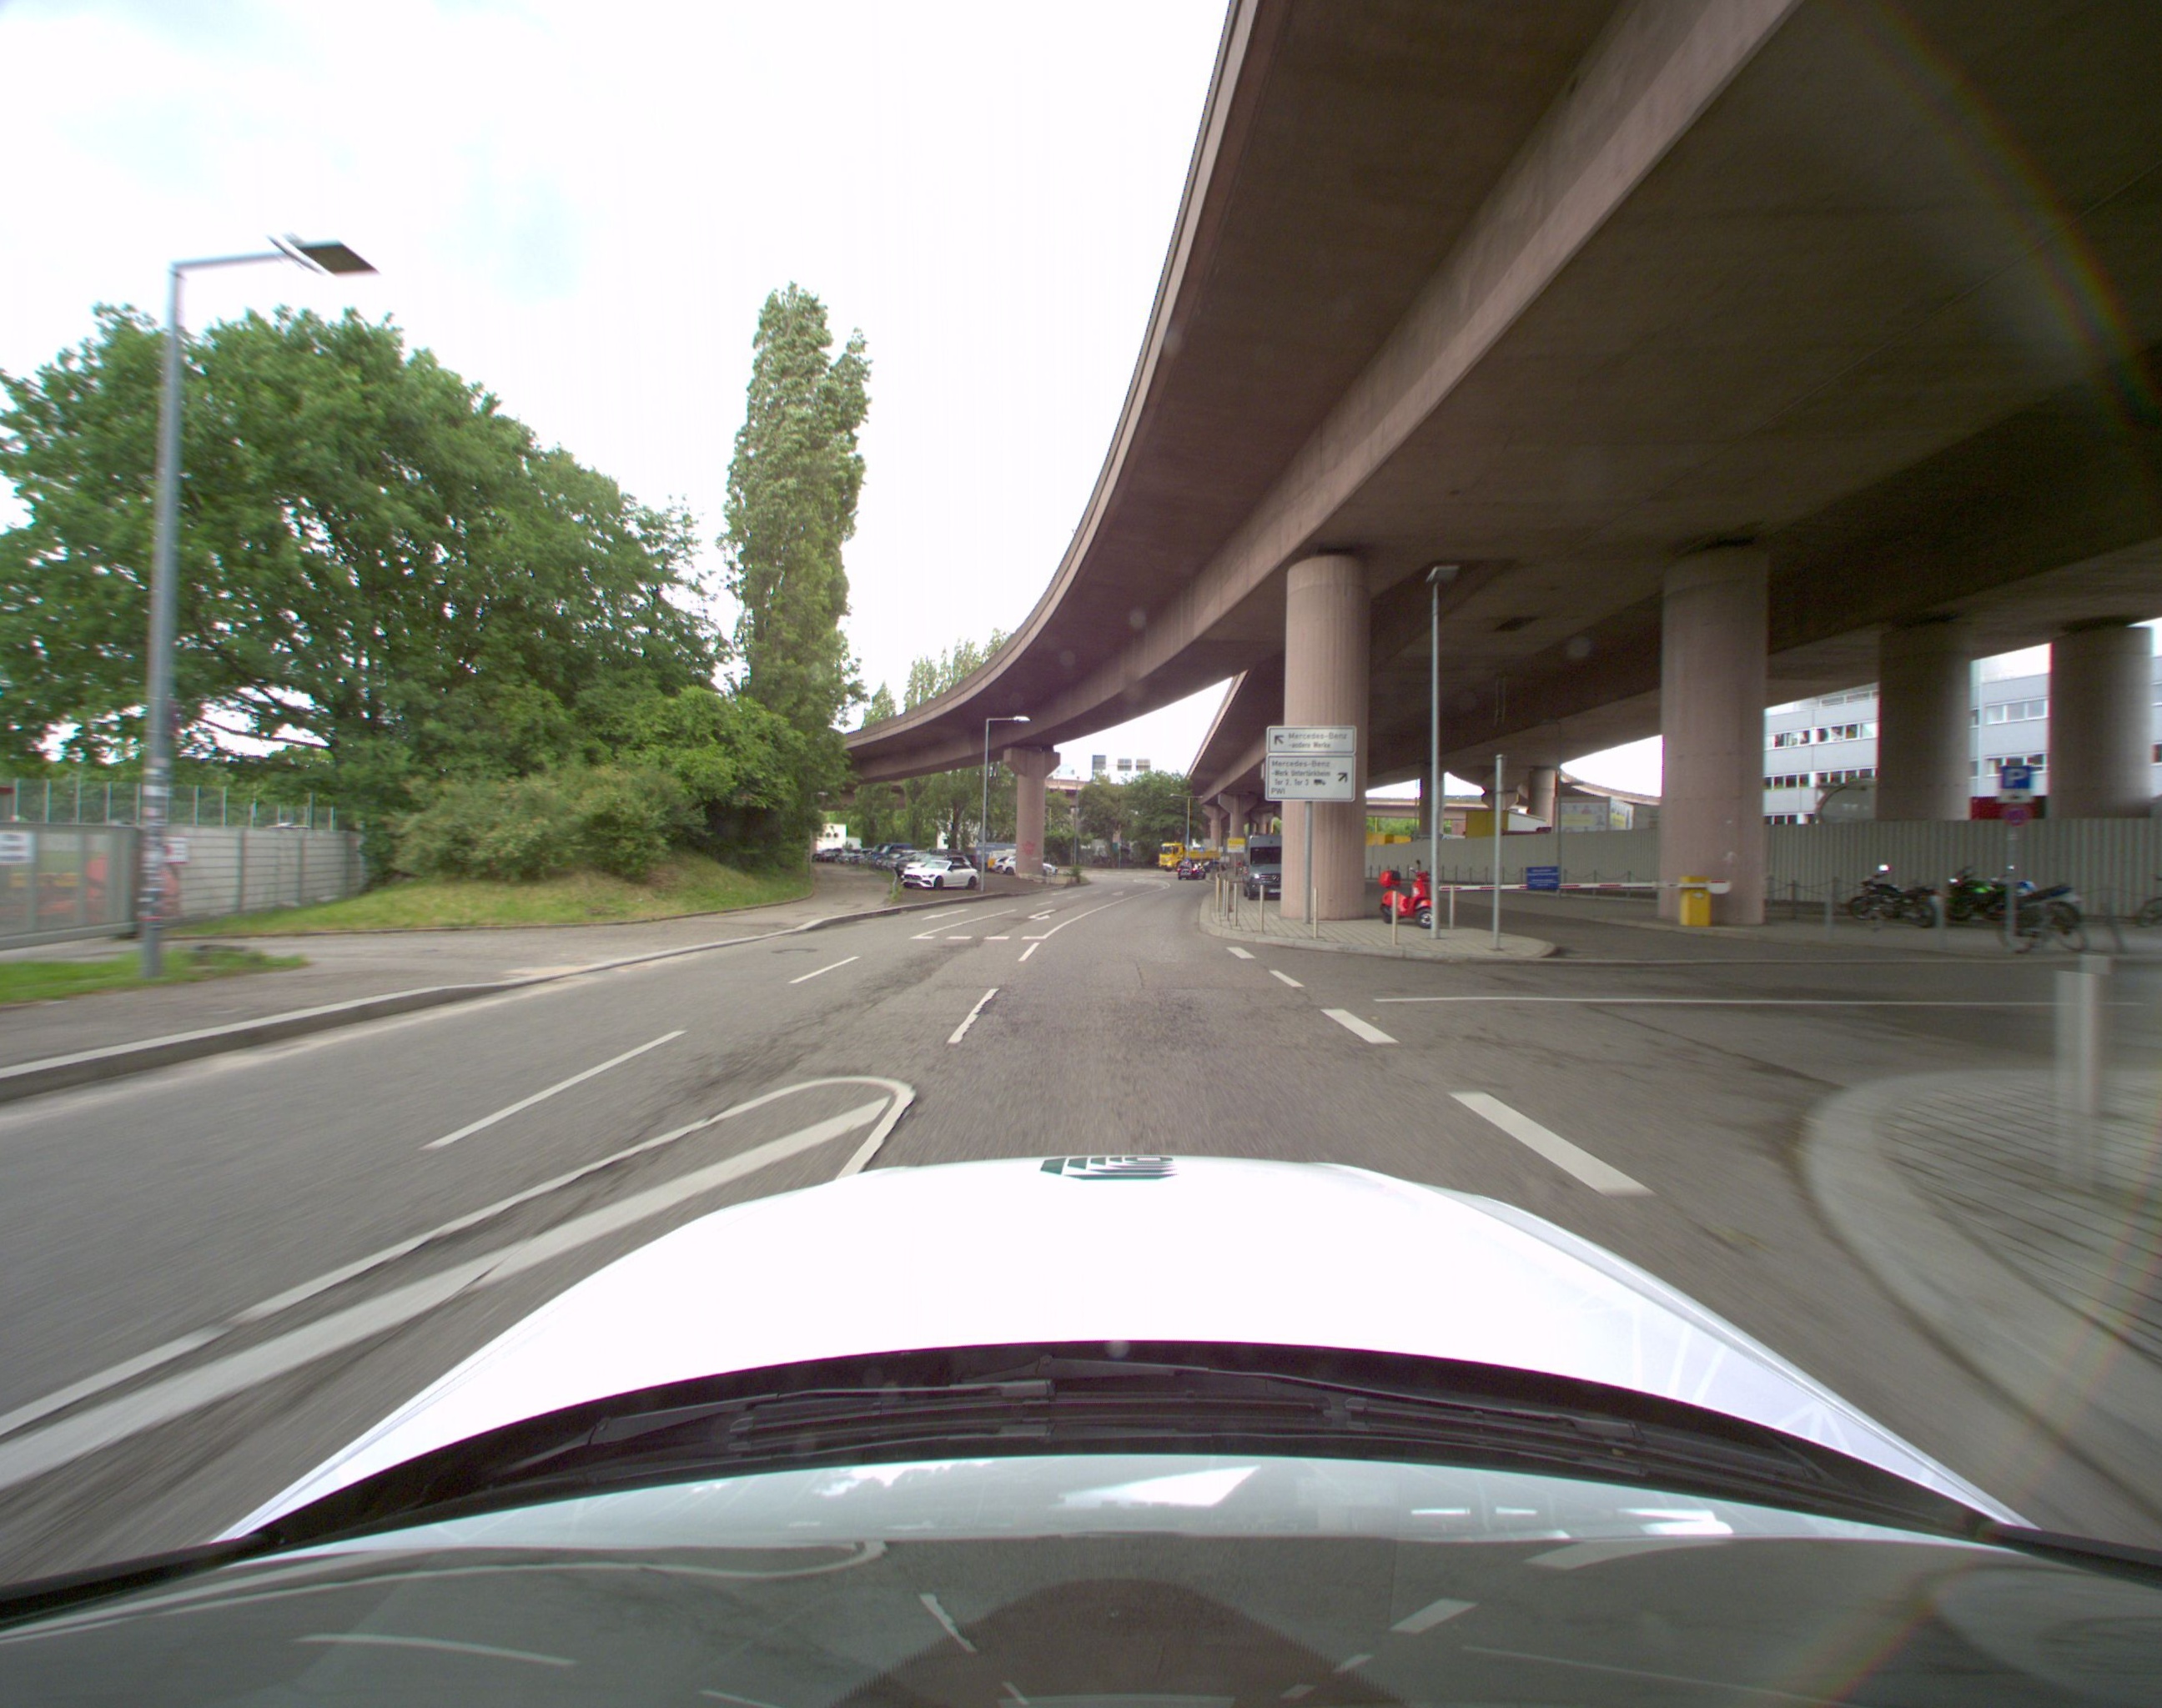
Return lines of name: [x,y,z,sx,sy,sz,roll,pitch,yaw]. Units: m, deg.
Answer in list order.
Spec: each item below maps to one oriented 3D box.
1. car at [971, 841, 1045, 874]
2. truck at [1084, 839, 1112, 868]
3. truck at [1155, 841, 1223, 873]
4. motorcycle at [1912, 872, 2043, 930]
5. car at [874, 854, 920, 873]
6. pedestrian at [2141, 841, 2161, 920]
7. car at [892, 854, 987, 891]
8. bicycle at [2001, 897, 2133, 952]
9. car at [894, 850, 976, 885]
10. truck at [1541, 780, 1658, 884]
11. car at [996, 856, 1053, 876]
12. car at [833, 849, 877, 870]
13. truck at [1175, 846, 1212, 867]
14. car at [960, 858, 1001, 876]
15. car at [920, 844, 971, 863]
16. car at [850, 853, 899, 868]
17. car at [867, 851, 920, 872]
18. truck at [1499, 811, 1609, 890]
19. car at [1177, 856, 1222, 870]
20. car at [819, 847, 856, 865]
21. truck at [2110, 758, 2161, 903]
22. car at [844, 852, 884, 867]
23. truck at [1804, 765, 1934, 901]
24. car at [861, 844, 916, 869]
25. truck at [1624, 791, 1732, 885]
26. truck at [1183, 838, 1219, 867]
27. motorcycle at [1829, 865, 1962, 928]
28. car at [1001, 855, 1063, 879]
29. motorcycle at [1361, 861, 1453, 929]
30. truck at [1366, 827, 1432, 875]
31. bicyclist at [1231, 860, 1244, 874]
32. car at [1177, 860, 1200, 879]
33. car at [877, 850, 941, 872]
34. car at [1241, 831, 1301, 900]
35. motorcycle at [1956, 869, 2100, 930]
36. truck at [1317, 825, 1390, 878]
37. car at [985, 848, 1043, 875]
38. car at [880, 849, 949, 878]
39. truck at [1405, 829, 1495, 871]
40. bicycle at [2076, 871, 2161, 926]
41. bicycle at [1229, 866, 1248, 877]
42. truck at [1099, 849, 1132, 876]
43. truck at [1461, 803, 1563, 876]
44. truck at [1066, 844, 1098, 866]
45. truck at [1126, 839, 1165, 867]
car: [-6.441,0.263,72.729,6.145,2.725,2.371,2,0,5]
truck: [2.883,-0.205,142.405,3.205,4.779,8.017,0,1,-12]
truck: [13.119,0.335,98.529,8.279,3.480,2.906,-1,4,-35]
motorcycle: [20.384,1.026,18.600,0.540,1.105,2.333,0,2,5]
car: [-14.222,0.746,63.107,1.629,1.441,3.755,-1,0,22]
pedestrian: [25.567,0.622,19.125,0.638,1.827,0.507,0,-1,9]
car: [-6.761,0.940,39.495,1.976,1.480,4.855,4,-1,25]
bicycle: [17.474,1.253,14.441,2.009,0.926,0.418,1,1,-5]
car: [-7.723,0.758,43.426,1.976,1.583,4.425,5,0,25]
truck: [27.553,-1.028,43.009,3.109,4.924,9.782,-1,-1,45]
car: [-4.631,0.952,67.030,4.213,1.371,2.008,3,0,15]
car: [-23.485,0.517,84.697,1.823,1.800,4.329,-1,4,28]
truck: [16.517,0.279,119.892,2.922,2.898,6.522,-1,1,-17]
car: [-10.056,1.304,81.823,3.983,1.740,2.016,-1,-1,-7]
car: [-14.845,-0.059,89.547,5.061,2.072,2.264,0,-2,8]
car: [-20.094,0.638,79.483,1.975,1.435,4.674,-1,-1,28]
car: [-15.288,0.616,66.572,1.877,1.675,4.180,-1,0,30]
truck: [27.938,-0.168,47.820,10.123,4.183,2.863,0,-1,-44]
car: [13.631,1.014,93.610,4.951,1.502,2.151,0,0,-34]
car: [-26.751,0.207,89.562,1.639,1.712,4.103,3,-1,22]
truck: [33.121,-0.688,23.521,2.874,4.159,8.822,-1,-1,43]
car: [-21.889,0.583,82.325,1.771,1.474,3.911,0,0,27]
truck: [29.450,-0.650,30.260,10.356,4.303,2.976,0,-1,-44]
car: [-17.470,0.233,74.118,2.098,2.255,5.047,-1,-1,25]
truck: [29.973,-0.708,40.639,9.987,4.159,2.779,0,-1,-45]
truck: [18.678,-0.302,127.074,3.068,4.299,8.016,0,1,-12]
motorcycle: [18.528,0.923,18.642,0.778,1.235,2.542,0,1,8]
car: [-3.869,0.980,64.026,4.347,1.606,1.963,3,0,17]
motorcycle: [7.011,0.842,17.659,0.796,1.366,2.120,0,0,-13]
truck: [34.154,-0.248,87.284,8.766,4.903,3.109,1,-1,-44]
bicyclist: [15.920,1.313,82.868,0.800,1.405,1.057,-1,-1,-26]
car: [10.133,1.424,76.743,1.981,1.679,4.572,1,0,10]
car: [-12.690,0.518,60.449,1.840,1.487,4.918,3,1,28]
car: [7.715,0.449,33.559,1.982,2.613,6.089,0,0,9]
motorcycle: [21.443,0.990,18.526,0.569,1.105,2.332,0,4,2]
truck: [27.065,-0.167,80.532,8.766,4.917,3.109,1,-1,-44]
car: [-5.715,0.631,69.704,4.525,2.111,1.857,2,0,12]
car: [-10.104,0.611,49.773,1.839,1.691,4.189,1,-1,28]
truck: [29.082,-0.377,63.892,8.766,2.944,3.109,-2,-2,-43]
bicycle: [23.612,1.000,17.775,2.301,1.105,0.624,4,5,43]
bicycle: [15.985,1.761,82.745,0.806,1.097,2.113,-1,-1,-26]
truck: [5.110,1.233,122.452,3.071,3.963,6.887,0,-1,-15]
truck: [28.503,-0.856,53.593,3.109,4.443,9.782,-1,-1,45]
truck: [0.156,0.107,138.940,3.064,3.618,7.867,0,2,-18]
truck: [9.249,-0.240,117.691,3.073,3.867,8.004,0,1,-17]
